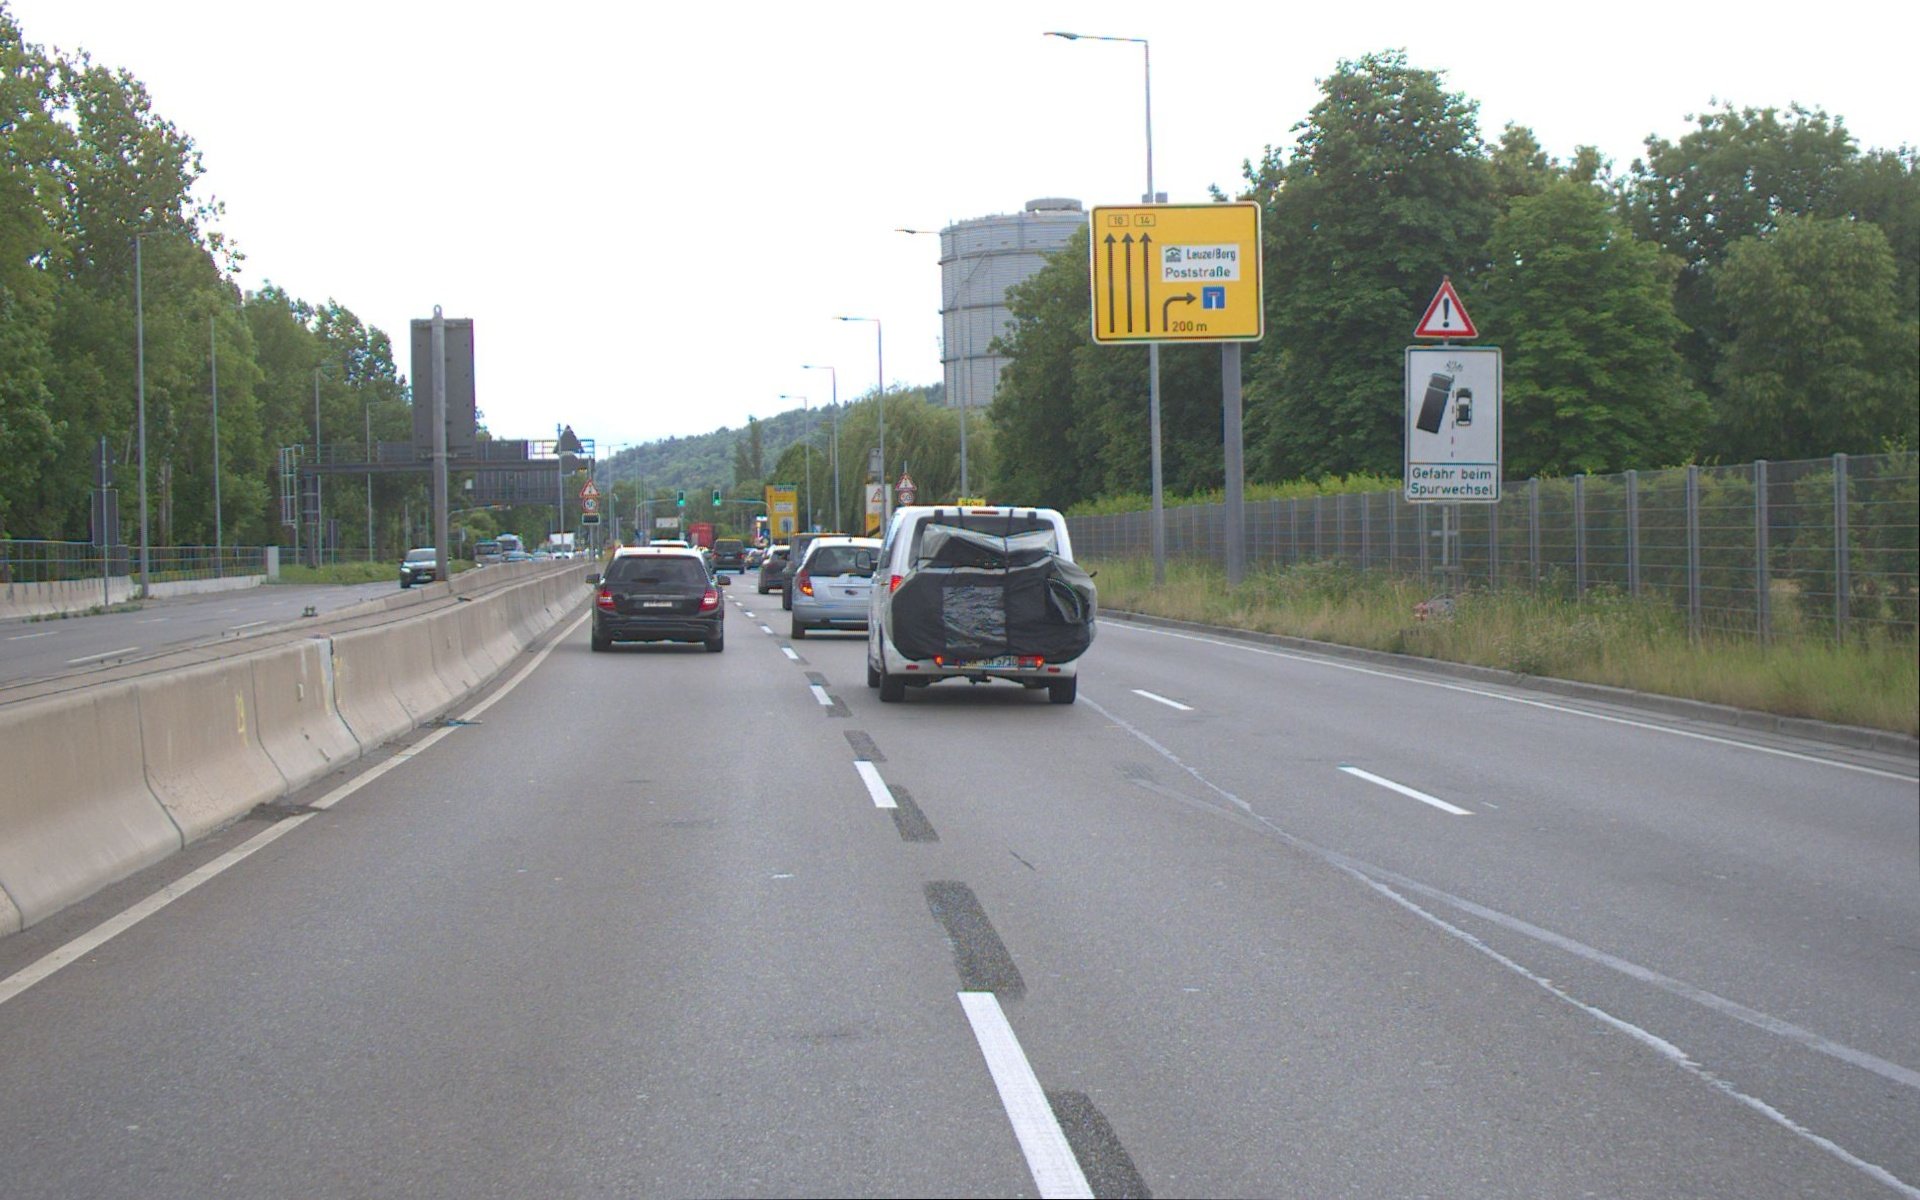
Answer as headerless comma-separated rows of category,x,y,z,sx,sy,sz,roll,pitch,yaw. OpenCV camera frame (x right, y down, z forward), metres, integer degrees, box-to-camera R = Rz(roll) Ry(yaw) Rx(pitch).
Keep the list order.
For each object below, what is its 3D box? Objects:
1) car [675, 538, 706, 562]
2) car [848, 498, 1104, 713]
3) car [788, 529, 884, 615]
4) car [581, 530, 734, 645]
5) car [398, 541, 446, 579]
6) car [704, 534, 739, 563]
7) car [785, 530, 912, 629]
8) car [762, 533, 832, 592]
car,-18.814,-3.475,239.659,1.993,1.648,4.001,0,1,-7
car,0.053,-0.012,33.478,1.992,1.852,5.642,2,1,-4
car,-2.765,-0.648,76.110,1.993,1.853,4.001,0,1,-4
car,-4.039,-0.206,46.435,1.815,1.429,4.066,-1,1,-2
car,-20.050,-1.501,128.169,1.732,1.369,3.617,0,1,-8
car,-13.888,-2.988,200.000,1.993,1.648,4.001,0,1,-5
car,-1.783,-0.346,53.940,1.920,1.483,4.066,0,1,-3
car,-4.803,-1.118,101.306,1.993,1.663,4.001,1,1,-3
